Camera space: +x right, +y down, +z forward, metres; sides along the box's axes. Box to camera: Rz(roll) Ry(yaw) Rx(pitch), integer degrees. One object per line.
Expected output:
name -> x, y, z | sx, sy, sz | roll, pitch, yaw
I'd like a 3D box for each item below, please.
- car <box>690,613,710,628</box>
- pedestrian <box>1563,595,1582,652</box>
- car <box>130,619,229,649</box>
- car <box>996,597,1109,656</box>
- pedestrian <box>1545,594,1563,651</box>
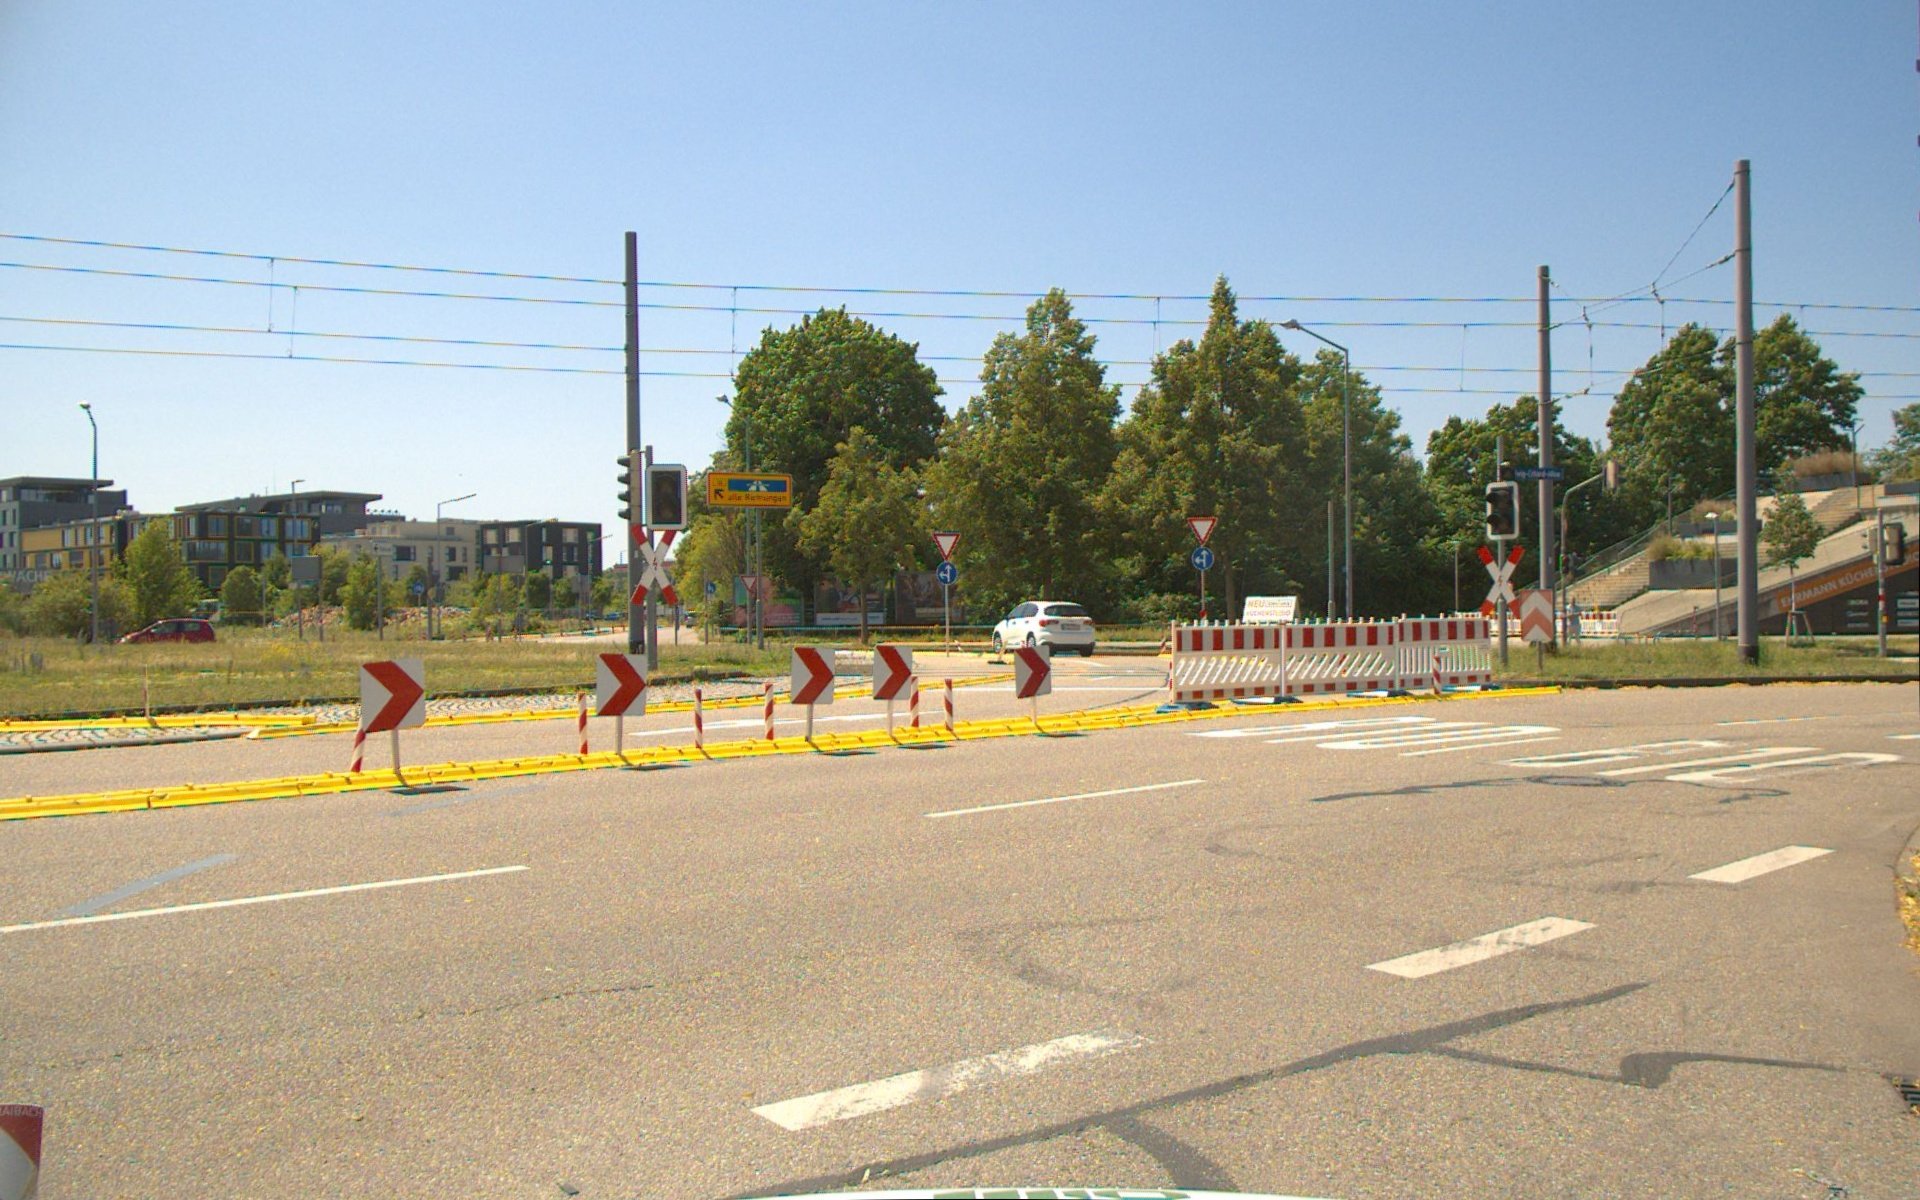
car -> -24.988, 1.930, 159.077 | 1.626, 1.396, 3.028 | -1, 0, -5
pedestrian -> 19.140, 0.724, 51.691 | 0.439, 1.769, 0.318 | -1, 0, -3
car -> -30.853, 1.327, 65.421 | 3.471, 1.109, 1.483 | -1, 0, -30
car -> 2.465, 0.700, 45.191 | 1.959, 1.512, 4.352 | -1, 0, -13
pedestrian -> 18.553, 0.713, 51.649 | 0.439, 1.769, 0.291 | -1, 0, -3
